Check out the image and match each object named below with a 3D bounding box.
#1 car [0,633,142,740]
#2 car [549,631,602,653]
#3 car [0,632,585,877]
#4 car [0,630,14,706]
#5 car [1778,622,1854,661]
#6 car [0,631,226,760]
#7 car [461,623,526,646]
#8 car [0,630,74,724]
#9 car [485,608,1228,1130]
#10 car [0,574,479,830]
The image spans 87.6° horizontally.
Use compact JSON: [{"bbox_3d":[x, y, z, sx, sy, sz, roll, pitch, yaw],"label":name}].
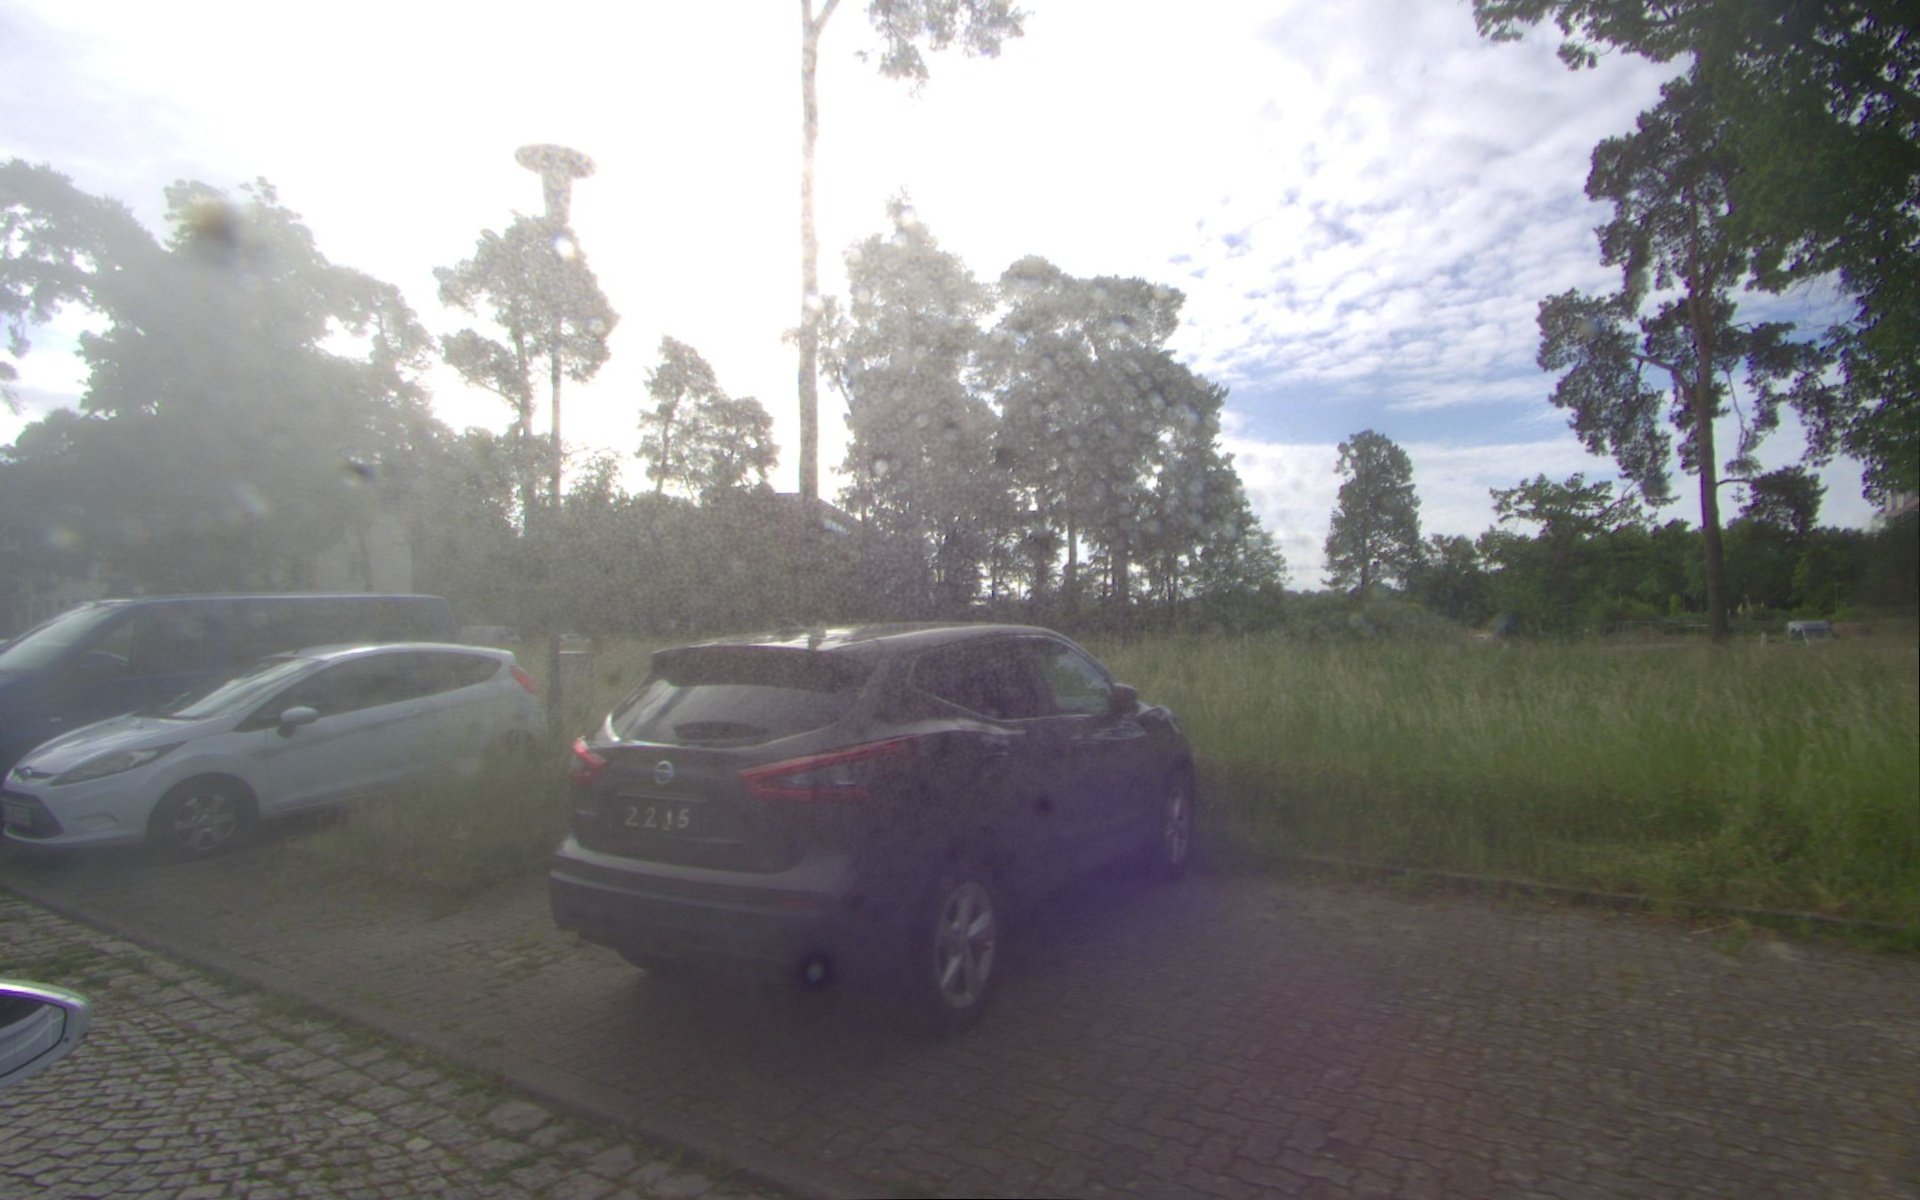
[{"bbox_3d":[-14.460,1.238,14.198,1.740,1.466,4.122,-1,-1,32],"label":"car"},{"bbox_3d":[-34.563,3.797,90.152,1.874,1.826,4.126,-1,-3,34],"label":"car"},{"bbox_3d":[-5.461,1.053,8.591,1.695,1.498,4.094,-1,-1,29],"label":"car"},{"bbox_3d":[-20.730,1.343,18.741,1.659,1.495,4.099,-1,-1,30],"label":"car"},{"bbox_3d":[61.773,3.049,72.380,2.238,2.673,5.675,0,-3,20],"label":"car"},{"bbox_3d":[-11.917,1.182,12.867,1.740,1.498,3.647,-1,-1,32],"label":"car"},{"bbox_3d":[-44.105,3.264,94.841,2.076,2.044,5.293,-1,-3,33],"label":"car"},{"bbox_3d":[-16.688,1.261,15.969,1.718,1.506,3.499,-1,-1,31],"label":"car"},{"bbox_3d":[-0.063,0.869,5.411,1.924,1.615,4.198,-1,-1,30],"label":"car"},{"bbox_3d":[-7.568,0.843,9.956,1.937,2.030,4.789,-1,-1,30],"label":"car"}]
